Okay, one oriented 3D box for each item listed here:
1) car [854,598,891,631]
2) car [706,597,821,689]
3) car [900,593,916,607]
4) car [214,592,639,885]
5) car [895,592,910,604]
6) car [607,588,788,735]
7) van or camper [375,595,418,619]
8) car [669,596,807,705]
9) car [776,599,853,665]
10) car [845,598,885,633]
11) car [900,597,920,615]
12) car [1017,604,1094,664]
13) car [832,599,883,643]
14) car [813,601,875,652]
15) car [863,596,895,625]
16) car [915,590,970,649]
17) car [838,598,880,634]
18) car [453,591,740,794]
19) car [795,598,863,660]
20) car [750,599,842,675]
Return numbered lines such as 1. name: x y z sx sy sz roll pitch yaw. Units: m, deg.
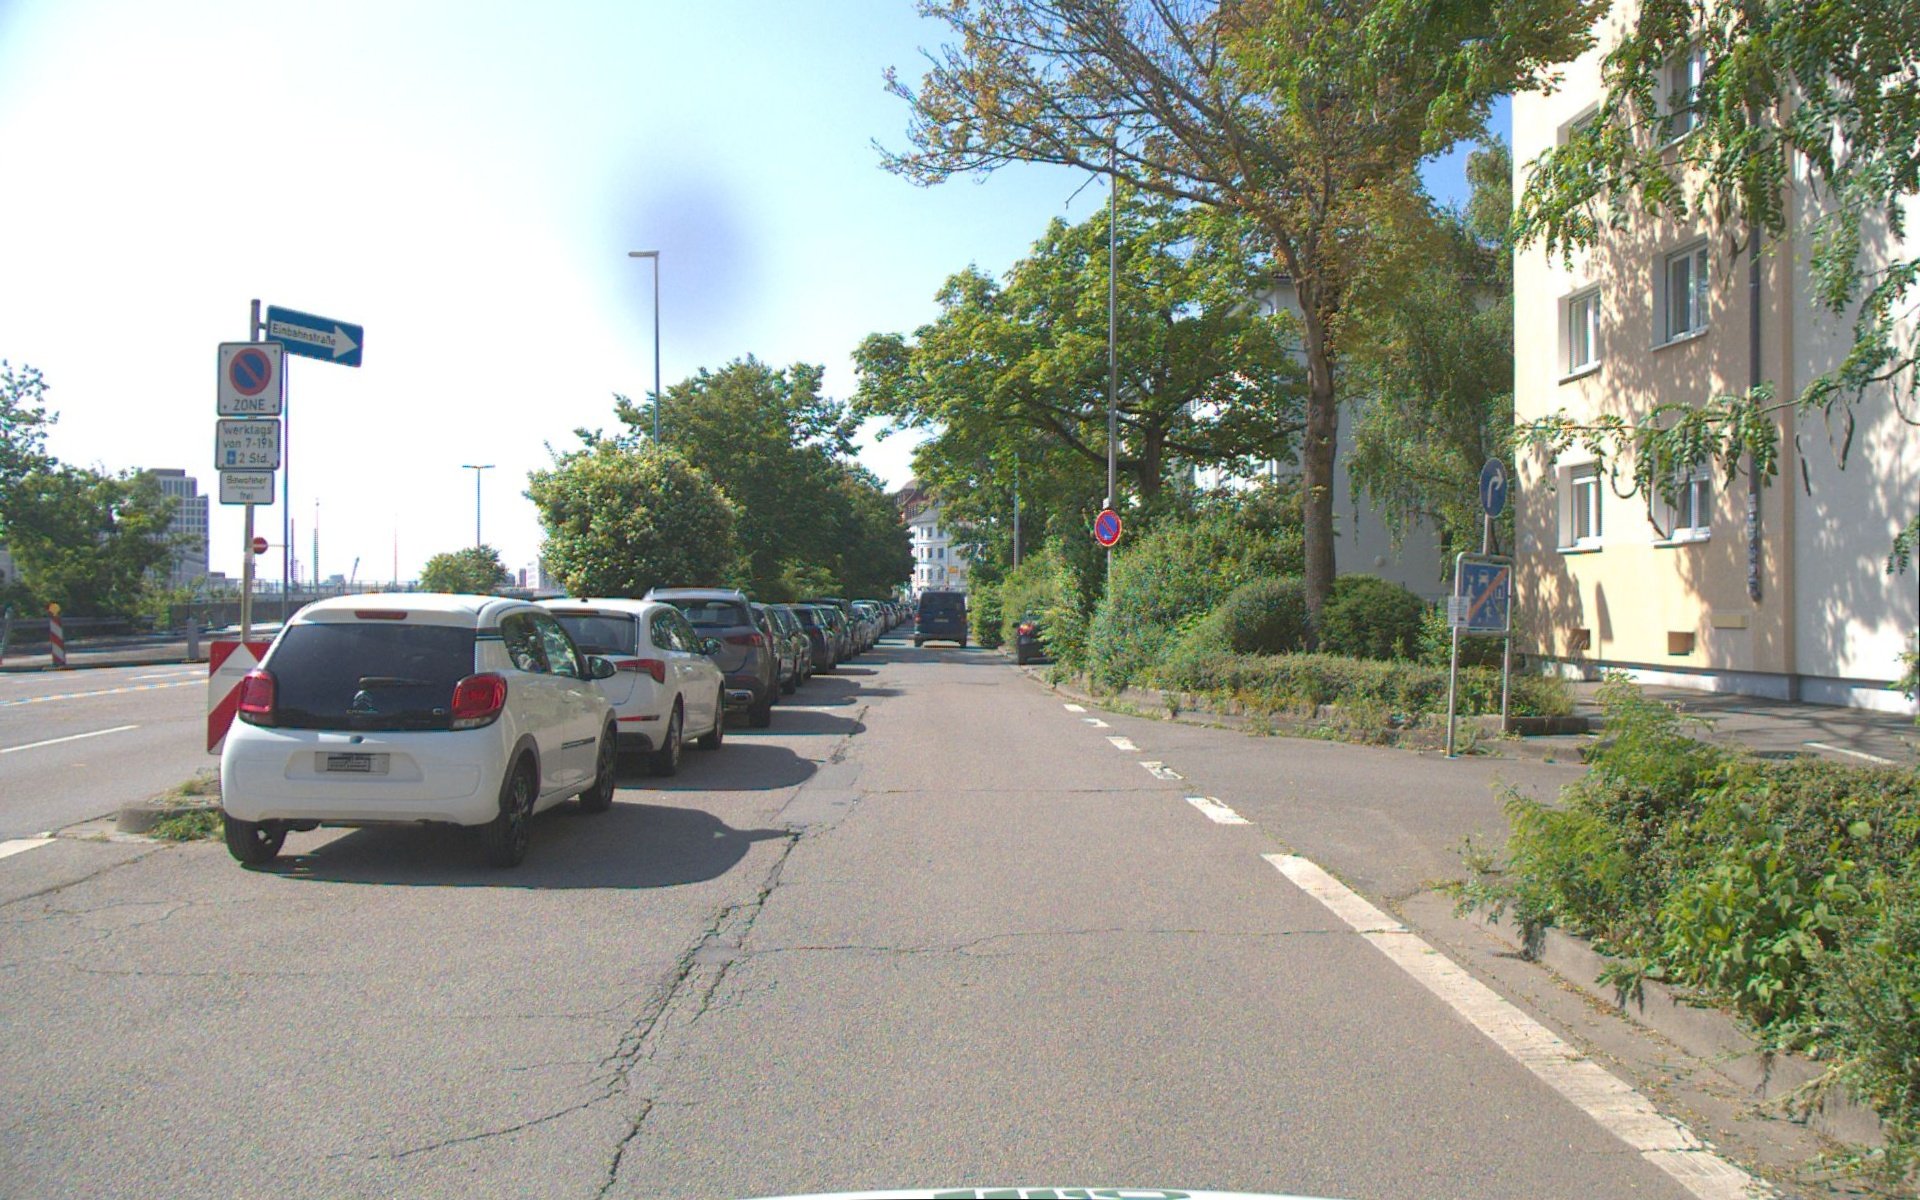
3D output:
1. car: -4.423 0.727 84.091 1.630 1.536 4.008 2 0 -1
2. car: -3.640 0.746 31.334 1.630 1.538 4.593 2 0 -1
3. car: -6.284 -0.031 201.043 1.953 1.686 3.999 0 0 -2
4. car: -3.165 0.729 10.506 1.586 1.531 3.461 1 0 -1
5. car: -7.729 -0.277 221.240 1.953 1.686 3.739 0 0 -2
6. car: -3.142 0.665 20.544 1.736 1.607 4.184 -1 1 -2
7. van or camper: -33.501 0.380 98.433 1.439 1.373 4.624 0 0 -7
8. car: -3.405 0.730 25.949 1.630 1.500 3.876 2 0 -1
9. car: -3.667 0.776 42.168 1.630 1.538 3.789 2 0 -1
10. car: -4.482 0.716 78.542 1.630 1.536 4.008 2 0 -1
11. car: -4.782 0.538 158.216 1.953 1.686 3.999 0 0 -2
12. car: 2.467 0.859 43.383 1.691 1.445 3.999 -1 0 -1
13. car: -3.856 0.771 62.652 1.630 1.494 4.200 2 0 -1
14. car: -3.596 0.803 52.015 1.630 1.431 4.319 2 0 -1
15. car: -4.633 0.605 95.047 1.630 1.536 4.008 2 0 -1
16. car: -0.623 0.660 58.745 1.844 1.955 4.008 2 0 -1
17. car: -4.448 0.671 73.082 1.630 1.536 4.200 0 0 -1
18. car: -3.132 0.714 15.060 1.686 1.531 4.132 2 0 -1
19. car: -3.672 0.775 46.827 1.630 1.611 3.931 0 1 -1
20. car: -3.535 0.773 36.231 1.630 1.499 3.789 2 0 -1
